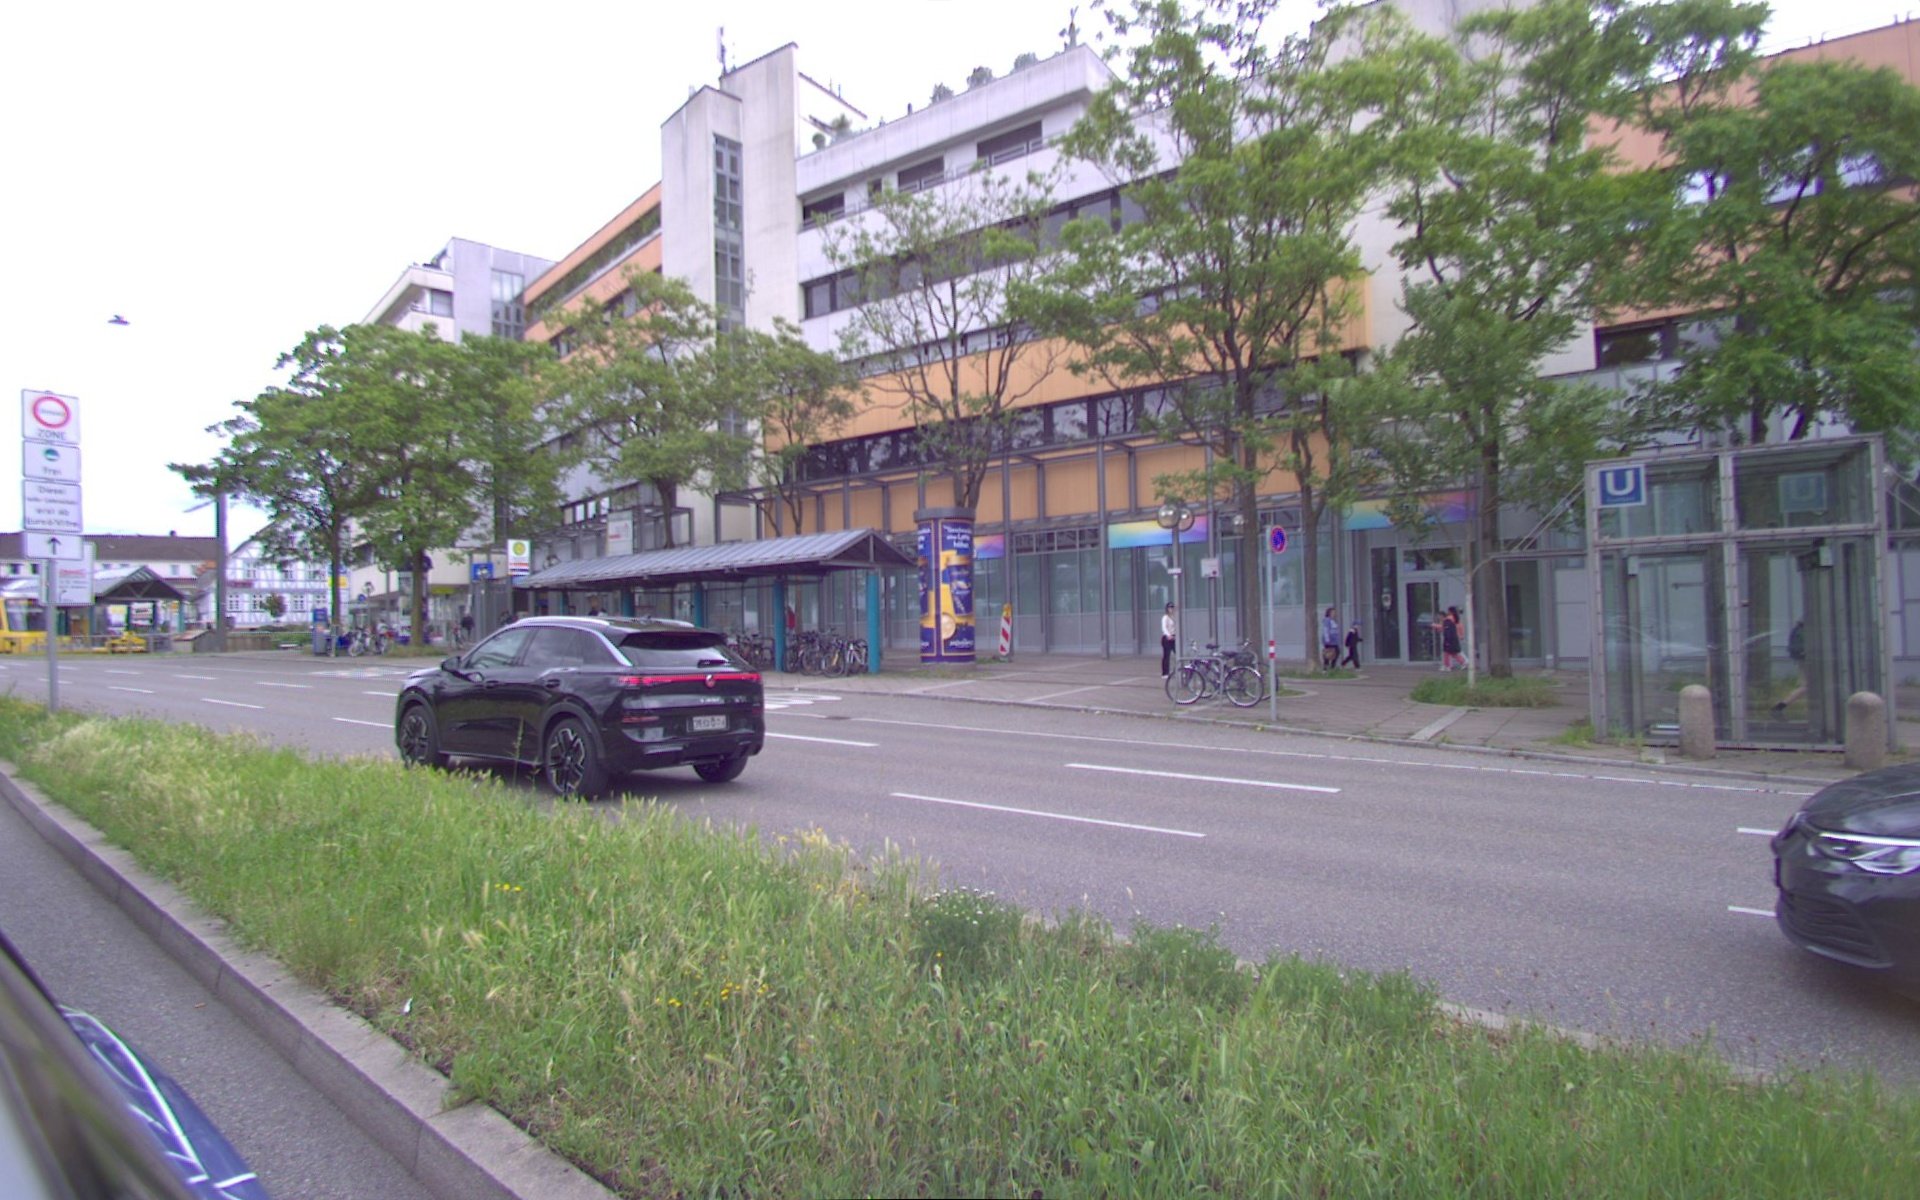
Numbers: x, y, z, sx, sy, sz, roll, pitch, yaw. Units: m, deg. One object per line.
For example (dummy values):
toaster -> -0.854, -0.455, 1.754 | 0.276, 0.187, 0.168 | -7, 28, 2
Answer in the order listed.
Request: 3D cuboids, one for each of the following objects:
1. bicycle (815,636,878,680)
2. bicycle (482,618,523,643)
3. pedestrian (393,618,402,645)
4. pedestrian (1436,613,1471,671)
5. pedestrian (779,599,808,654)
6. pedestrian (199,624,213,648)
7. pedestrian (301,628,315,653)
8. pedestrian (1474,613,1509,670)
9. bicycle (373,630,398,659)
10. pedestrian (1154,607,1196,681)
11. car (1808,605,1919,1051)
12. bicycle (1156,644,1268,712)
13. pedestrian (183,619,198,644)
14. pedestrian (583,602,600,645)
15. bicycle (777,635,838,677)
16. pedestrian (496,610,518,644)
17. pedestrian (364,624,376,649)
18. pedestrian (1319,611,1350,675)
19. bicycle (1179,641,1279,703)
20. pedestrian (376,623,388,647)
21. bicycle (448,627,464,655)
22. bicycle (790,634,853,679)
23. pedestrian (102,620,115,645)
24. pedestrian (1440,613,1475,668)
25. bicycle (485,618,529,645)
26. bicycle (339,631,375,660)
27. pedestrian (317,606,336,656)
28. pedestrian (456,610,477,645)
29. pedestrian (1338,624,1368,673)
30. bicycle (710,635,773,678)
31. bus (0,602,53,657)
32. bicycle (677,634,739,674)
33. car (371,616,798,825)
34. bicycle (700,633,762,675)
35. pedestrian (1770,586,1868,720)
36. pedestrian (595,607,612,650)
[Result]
bicycle -> -2.910, 1.473, 26.053 | 0.549, 1.048, 1.714 | -2, 0, 38
bicycle -> -26.103, 1.736, 57.758 | 2.106, 1.377, 0.621 | -1, 0, -24
pedestrian -> -35.463, 1.972, 63.831 | 0.479, 1.650, 0.439 | -1, 0, -32
pedestrian -> 12.184, 1.027, 24.976 | 0.694, 1.385, 0.578 | -1, -2, 34
pedestrian -> -6.247, 0.971, 38.009 | 0.791, 2.029, 0.703 | -1, 0, 30
pedestrian -> -50.108, 2.394, 67.223 | 0.581, 1.554, 0.570 | -1, -2, 32
pedestrian -> -40.601, 2.497, 63.021 | 0.581, 1.554, 0.570 | -1, -2, 32
pedestrian -> 13.194, 1.013, 25.116 | 0.694, 1.385, 0.578 | -1, -2, 34
bicycle -> -22.753, 1.754, 40.101 | 0.584, 1.085, 2.044 | 0, -1, -21
pedestrian -> 4.948, 0.989, 23.261 | 0.721, 1.662, 0.669 | -1, -1, 37
car -> 5.320, 0.720, 2.888 | 4.280, 1.492, 1.693 | -2, -3, 37
bicycle -> 4.363, 1.323, 17.591 | 0.802, 1.068, 1.739 | 0, -1, -40
pedestrian -> -62.329, 2.526, 81.949 | 0.867, 2.029, 1.010 | 1, -2, -44
pedestrian -> -17.309, 1.107, 47.516 | 0.558, 2.029, 0.611 | 1, -2, -44
bicycle -> -4.143, 1.514, 27.553 | 0.549, 1.048, 1.714 | -2, -1, 38
pedestrian -> -22.850, 1.349, 51.010 | 0.752, 1.695, 0.755 | -1, -2, 41
pedestrian -> -36.779, 2.278, 63.068 | 0.548, 1.506, 0.454 | 1, -2, -41
pedestrian -> 9.136, 1.040, 24.686 | 0.620, 1.515, 0.563 | -1, -2, 31
bicycle -> 4.979, 1.311, 18.783 | 1.737, 1.074, 0.542 | -2, -1, 45
pedestrian -> -36.292, 2.193, 63.526 | 0.548, 1.506, 0.454 | 1, -2, -41
bicycle -> -21.358, 1.708, 42.921 | 0.584, 1.134, 2.044 | 1, -1, -26
bicycle -> -3.619, 1.457, 26.586 | 0.549, 1.048, 1.714 | -2, 0, 38
pedestrian -> -69.998, 2.651, 83.187 | 0.731, 2.029, 0.940 | 1, -2, -39
pedestrian -> 12.622, 1.021, 25.673 | 0.694, 1.385, 0.578 | -1, -2, 34
bicycle -> -24.955, 1.725, 55.780 | 2.107, 1.385, 0.621 | -1, 0, -31
bicycle -> -23.620, 1.766, 39.643 | 0.585, 1.085, 2.042 | 0, -1, -12
pedestrian -> -29.552, 1.439, 47.197 | 0.608, 2.325, 0.583 | -1, -2, 39
pedestrian -> -26.132, 1.448, 53.630 | 0.752, 1.859, 0.755 | -1, -2, 41
pedestrian -> 9.751, 1.194, 25.110 | 0.620, 1.190, 0.418 | -1, -2, 31
bicycle -> -5.966, 1.529, 27.714 | 0.549, 1.048, 1.714 | -2, 1, 38
bus -> -55.989, 1.687, 58.606 | 8.470, 3.006, 2.530 | -1, -2, 29
bicycle -> -7.239, 1.534, 29.141 | 0.549, 1.048, 1.714 | -2, 0, 38
car -> -3.641, 0.942, 9.573 | 4.062, 1.532, 1.819 | 0, 0, 35
bicycle -> -6.461, 1.512, 28.576 | 0.549, 1.048, 1.714 | -2, 1, 38
pedestrian -> 12.184, 0.735, 14.379 | 0.916, 1.846, 0.533 | -1, -2, 25
pedestrian -> -15.479, 1.242, 43.899 | 0.639, 1.823, 0.761 | 0, -2, -16
